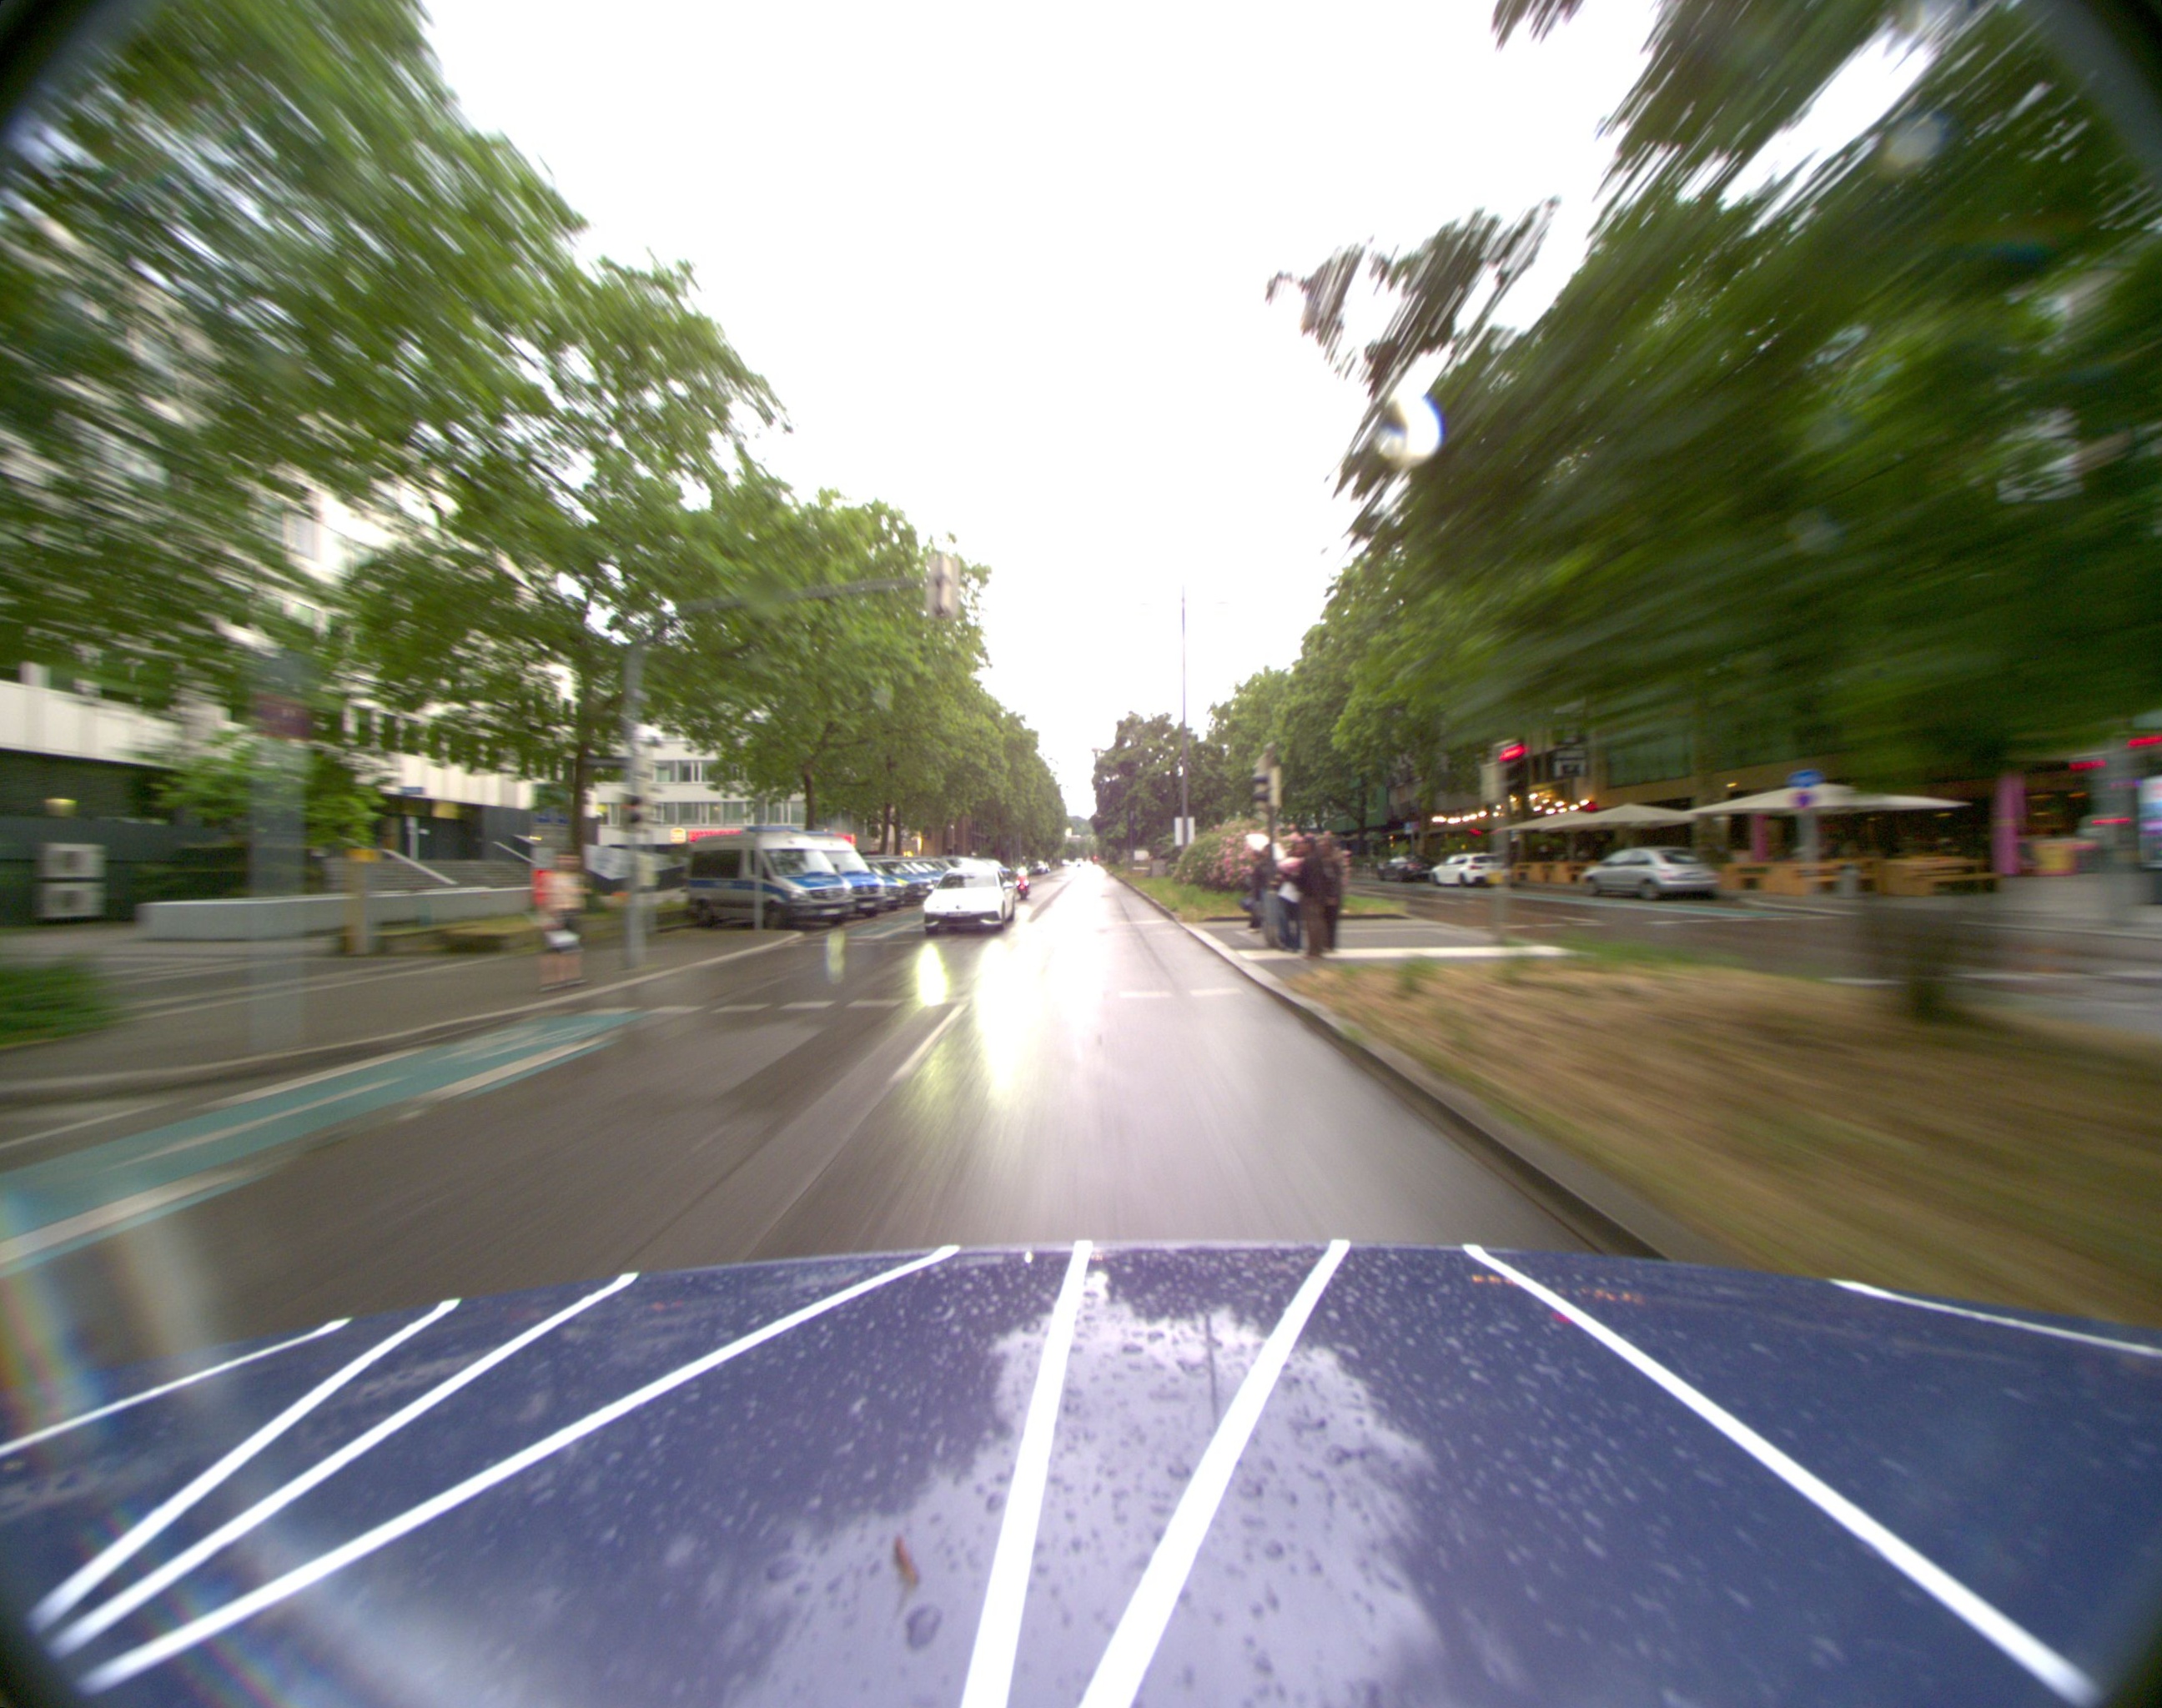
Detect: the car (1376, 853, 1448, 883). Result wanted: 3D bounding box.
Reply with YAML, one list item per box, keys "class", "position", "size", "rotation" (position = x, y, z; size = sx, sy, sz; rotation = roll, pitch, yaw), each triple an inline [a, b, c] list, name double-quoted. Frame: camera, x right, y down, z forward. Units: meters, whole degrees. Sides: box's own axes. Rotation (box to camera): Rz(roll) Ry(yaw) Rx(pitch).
- class: "car"
  position: [17.020, 0.676, 39.286]
  size: [1.829, 1.386, 4.484]
  rotation: [-2, 0, 1]

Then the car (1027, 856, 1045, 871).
- class: "car"
  position: [-5.143, 1.122, 87.376]
  size: [1.797, 1.593, 4.423]
  rotation: [-2, 0, 0]

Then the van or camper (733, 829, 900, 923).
- class: "van or camper"
  position: [-8.437, 0.654, 23.923]
  size: [5.795, 2.664, 2.004]
  rotation: [-1, 0, 37]

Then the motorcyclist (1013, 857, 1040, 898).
- class: "motorcyclist"
  position: [-2.248, 0.959, 31.247]
  size: [0.850, 1.635, 0.870]
  rotation: [-2, 0, -17]

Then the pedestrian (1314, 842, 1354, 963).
- class: "pedestrian"
  position: [3.654, 0.689, 10.980]
  size: [0.400, 1.710, 0.325]
  rotation: [-1, 1, -13]

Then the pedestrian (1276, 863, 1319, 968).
- class: "pedestrian"
  position: [3.066, 0.855, 10.787]
  size: [0.424, 1.442, 0.385]
  rotation: [-2, 1, -17]

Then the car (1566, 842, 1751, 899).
- class: "car"
  position: [16.829, 0.457, 22.501]
  size: [1.999, 1.500, 4.518]
  rotation: [-1, 0, -1]

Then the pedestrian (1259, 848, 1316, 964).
- class: "pedestrian"
  position: [3.003, 0.735, 11.052]
  size: [0.630, 1.633, 0.444]
  rotation: [-2, 1, -13]

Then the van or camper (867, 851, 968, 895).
- class: "van or camper"
  position: [-8.154, 0.928, 37.578]
  size: [5.093, 2.013, 2.110]
  rotation: [-2, 0, 39]

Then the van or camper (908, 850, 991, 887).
- class: "van or camper"
  position: [-7.786, 0.866, 44.674]
  size: [4.781, 1.999, 2.004]
  rotation: [-2, 1, 37]

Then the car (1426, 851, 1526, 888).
- class: "car"
  position: [16.882, 0.641, 32.775]
  size: [1.998, 1.362, 4.540]
  rotation: [-4, 0, 1]

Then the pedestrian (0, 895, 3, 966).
- class: "pedestrian"
  position: [-20.638, 1.099, 13.945]
  size: [0.701, 2.002, 0.772]
  rotation: [0, 1, 20]

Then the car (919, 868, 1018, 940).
- class: "car"
  position: [-2.618, 1.112, 18.634]
  size: [1.866, 1.436, 4.508]
  rotation: [-2, 0, -2]

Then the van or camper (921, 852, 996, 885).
- class: "van or camper"
  position: [-7.881, 0.926, 48.659]
  size: [4.841, 1.986, 1.871]
  rotation: [-2, 0, 38]

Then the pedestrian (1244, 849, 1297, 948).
- class: "pedestrian"
  position: [3.208, 0.733, 12.880]
  size: [0.613, 1.632, 0.604]
  rotation: [-2, 1, -21]

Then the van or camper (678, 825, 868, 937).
- class: "van or camper"
  position: [-8.510, 0.679, 20.713]
  size: [5.800, 2.662, 2.152]
  rotation: [-2, 0, 39]

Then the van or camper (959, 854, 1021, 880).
- class: "van or camper"
  position: [-7.467, 1.054, 62.071]
  size: [4.934, 1.980, 2.006]
  rotation: [-2, 0, 39]

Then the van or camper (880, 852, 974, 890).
- class: "van or camper"
  position: [-8.428, 0.923, 41.439]
  size: [5.010, 1.984, 2.004]
  rotation: [-1, 0, 34]

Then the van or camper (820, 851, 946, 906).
- class: "van or camper"
  position: [-8.050, 1.008, 30.678]
  size: [5.195, 1.981, 2.004]
  rotation: [-2, 1, 36]

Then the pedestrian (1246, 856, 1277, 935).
- class: "pedestrian"
  position: [3.439, 0.781, 14.475]
  size: [0.482, 1.480, 0.545]
  rotation: [-1, 1, 19]

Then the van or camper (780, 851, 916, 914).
- class: "van or camper"
  position: [-8.368, 0.974, 27.099]
  size: [5.003, 2.002, 2.004]
  rotation: [-1, 2, 37]

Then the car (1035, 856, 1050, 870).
- class: "car"
  position: [-4.703, 1.115, 92.455]
  size: [1.756, 1.576, 4.409]
  rotation: [-2, 0, -3]

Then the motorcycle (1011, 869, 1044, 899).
- class: "motorcycle"
  position: [-2.215, 1.211, 31.177]
  size: [0.869, 1.136, 2.019]
  rotation: [-2, 0, -17]

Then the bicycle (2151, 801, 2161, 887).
- class: "bicycle"
  position: [26.348, -0.285, 17.497]
  size: [2.392, 2.002, 0.690]
  rotation: [-3, 0, -1]

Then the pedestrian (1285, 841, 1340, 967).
- class: "pedestrian"
  position: [3.188, 0.675, 10.486]
  size: [0.575, 1.688, 0.404]
  rotation: [-1, 1, -11]

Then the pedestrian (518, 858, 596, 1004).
- class: "pedestrian"
  position: [-6.802, 0.976, 9.890]
  size: [0.607, 1.820, 0.564]
  rotation: [-1, 1, -8]

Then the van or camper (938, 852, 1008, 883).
- class: "van or camper"
  position: [-7.955, 1.015, 55.517]
  size: [5.075, 2.007, 2.001]
  rotation: [-3, 0, 38]
